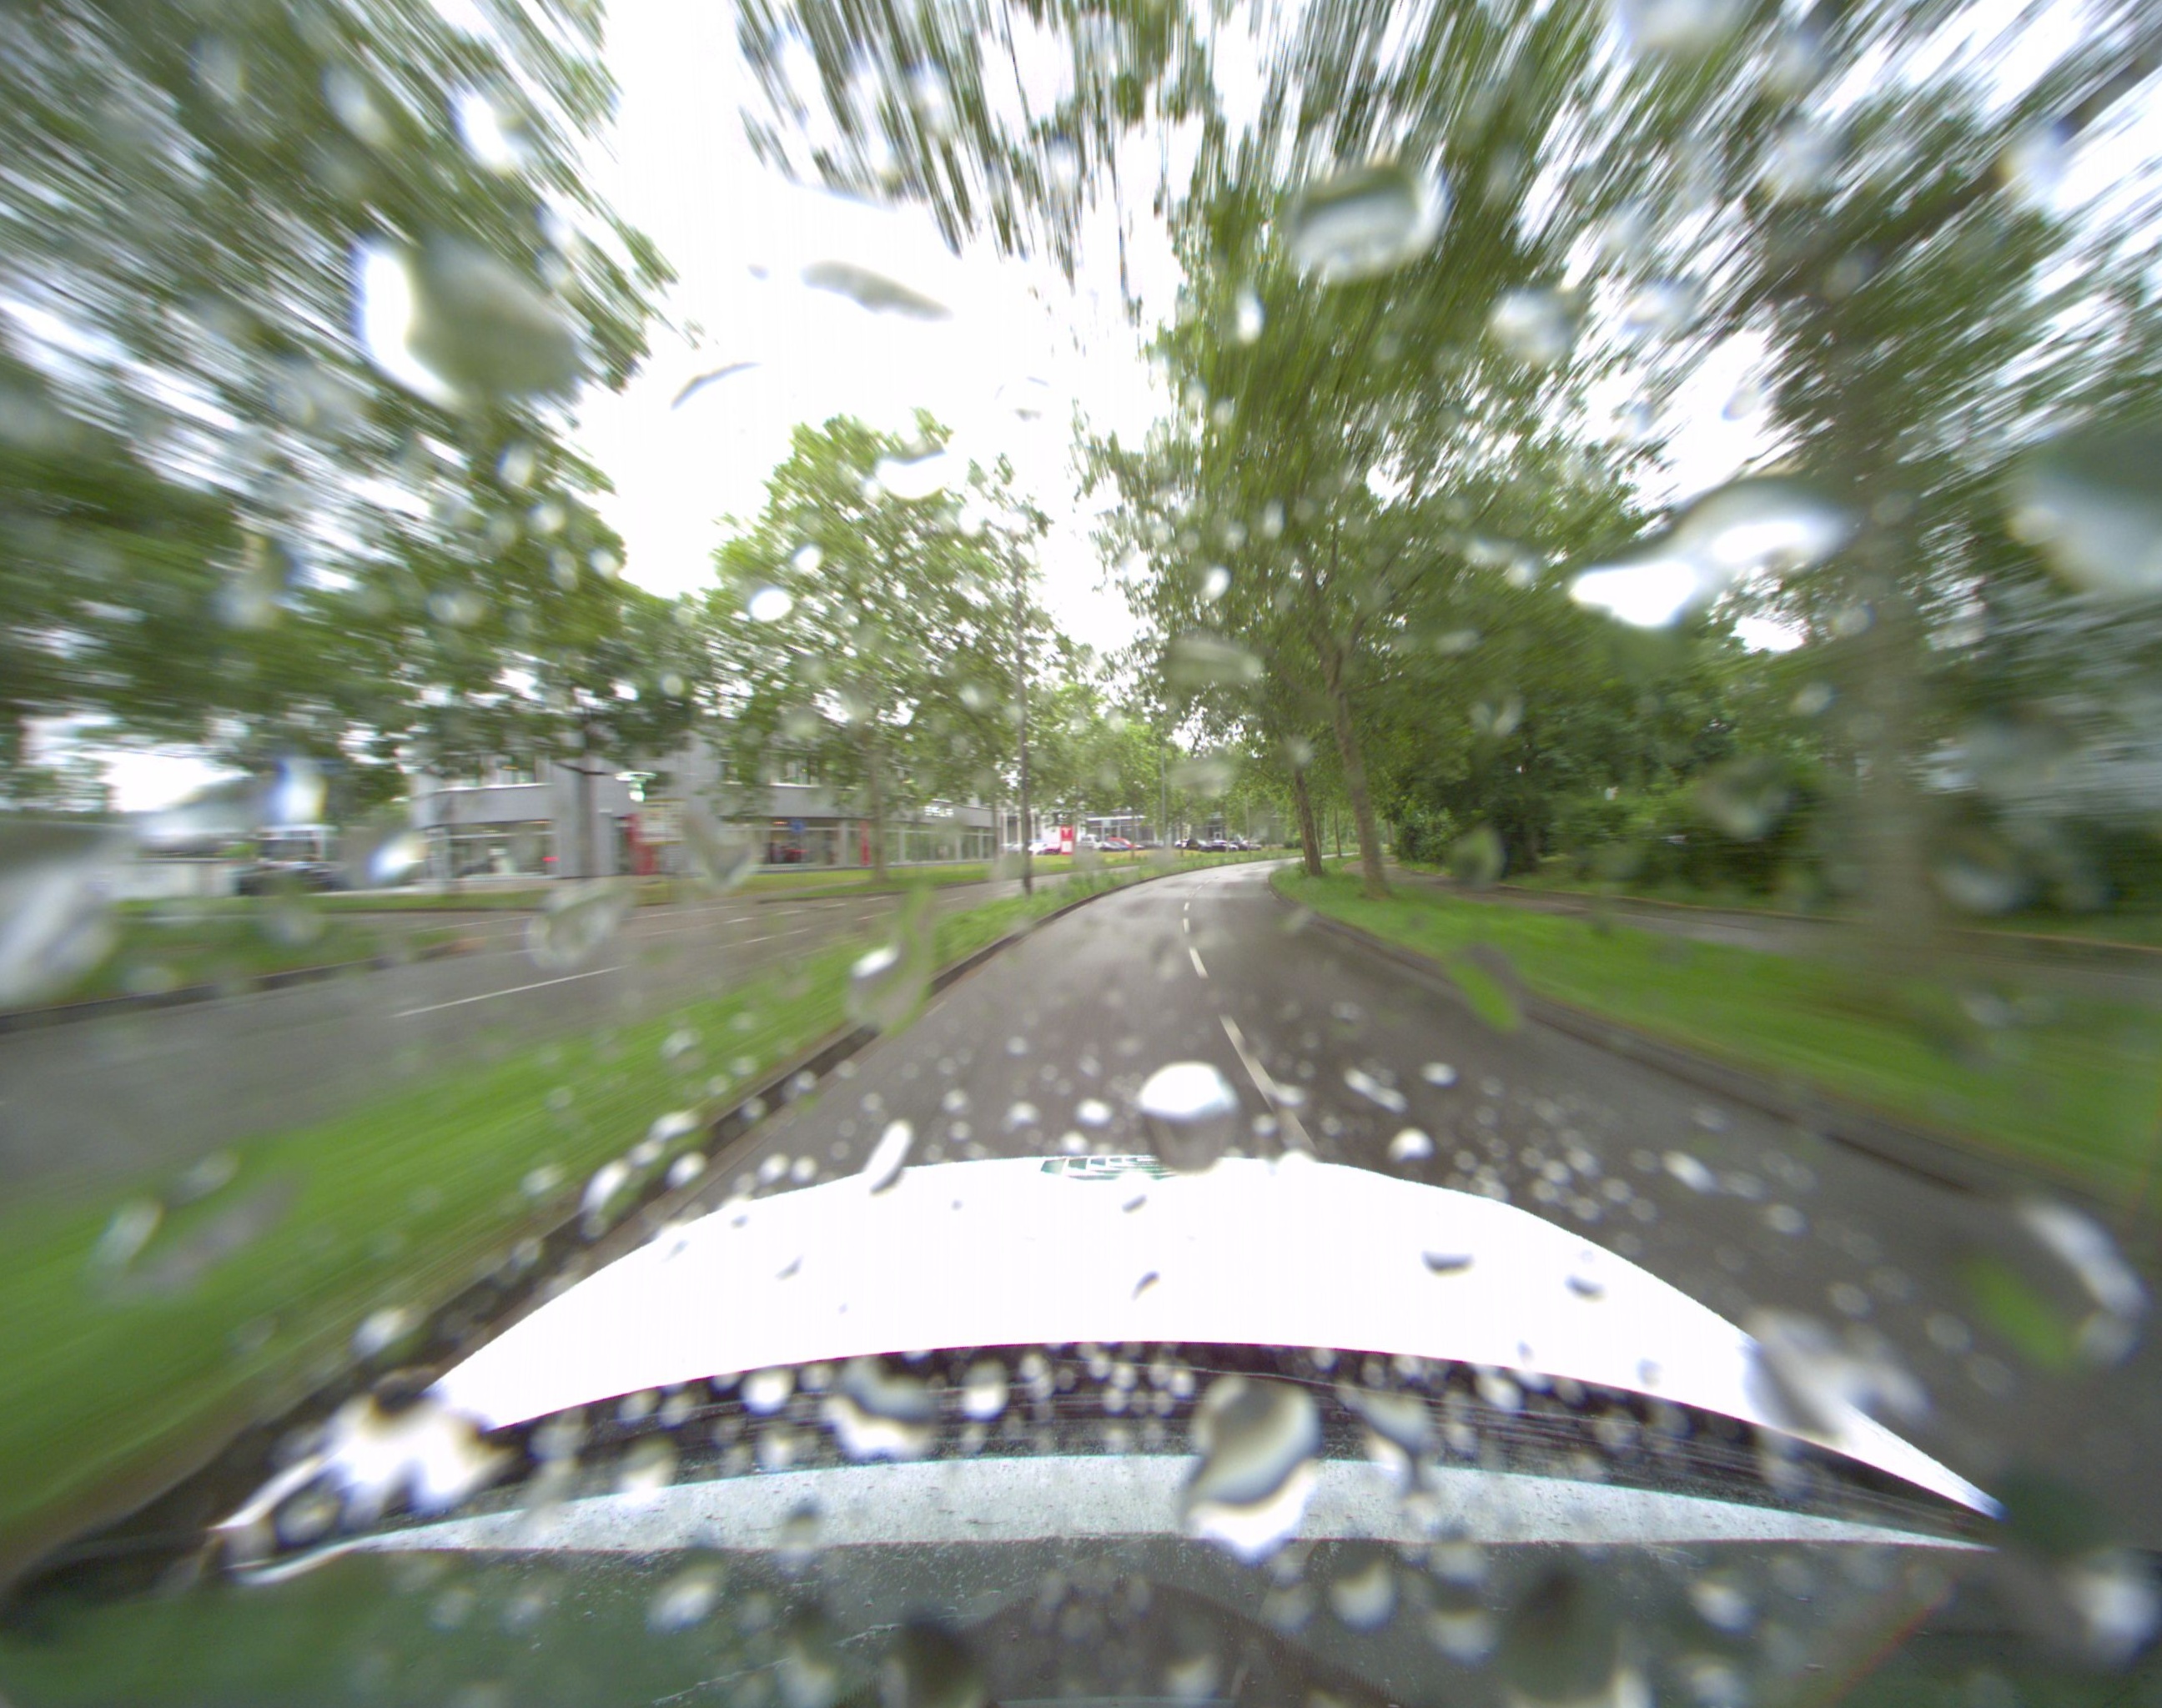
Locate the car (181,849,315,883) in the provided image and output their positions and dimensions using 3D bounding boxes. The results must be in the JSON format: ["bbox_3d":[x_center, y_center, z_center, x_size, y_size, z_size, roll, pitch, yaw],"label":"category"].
[{"bbox_3d":[-38.461,0.533,37.681,4.190,1.494,1.593,0,0,-9],"label":"car"}]

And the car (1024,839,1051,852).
[{"bbox_3d":[-5.222,-1.066,99.032,1.748,1.396,4.179,1,2,21],"label":"car"}]

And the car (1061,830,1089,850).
[{"bbox_3d":[-0.863,-2.031,114.809,2.172,2.752,5.302,0,1,-21],"label":"car"}]

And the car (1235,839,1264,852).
[{"bbox_3d":[26.791,-1.361,129.429,3.996,1.474,1.776,4,5,-17],"label":"car"}]

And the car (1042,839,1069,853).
[{"bbox_3d":[-3.041,-0.962,97.230,1.748,1.466,4.179,1,2,21],"label":"car"}]

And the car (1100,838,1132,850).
[{"bbox_3d":[4.409,-1.286,102.117,3.490,1.326,1.779,3,3,27],"label":"car"}]

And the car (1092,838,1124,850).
[{"bbox_3d":[3.355,-1.274,100.063,3.490,1.326,1.779,3,3,27],"label":"car"}]

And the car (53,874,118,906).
[{"bbox_3d":[-50.216,1.799,41.084,4.150,1.494,1.608,-1,0,33],"label":"car"}]

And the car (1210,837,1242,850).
[{"bbox_3d":[21.835,-1.571,122.678,4.119,1.478,1.841,5,5,-12],"label":"car"}]

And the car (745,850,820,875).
[{"bbox_3d":[-17.870,0.509,48.748,4.156,1.494,1.606,-1,0,20],"label":"car"}]

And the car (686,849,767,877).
[{"bbox_3d":[-19.898,0.493,45.717,4.156,1.494,1.606,-1,0,20],"label":"car"}]

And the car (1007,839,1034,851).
[{"bbox_3d":[-7.403,-1.086,99.873,1.748,1.396,4.179,1,2,21],"label":"car"}]

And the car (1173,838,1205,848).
[{"bbox_3d":[16.192,-1.614,122.596,4.381,1.473,1.931,0,1,25],"label":"car"}]

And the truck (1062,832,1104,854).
[{"bbox_3d":[0.324,-1.356,96.390,2.226,2.344,6.233,3,3,28],"label":"truck"}]

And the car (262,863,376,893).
[{"bbox_3d":[-40.282,1.238,43.138,4.190,1.494,1.593,0,0,-9],"label":"car"}]

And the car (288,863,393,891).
[{"bbox_3d":[-41.721,1.289,45.973,4.190,1.494,1.593,0,0,-9],"label":"car"}]

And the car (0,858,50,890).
[{"bbox_3d":[-50.504,0.934,38.704,3.033,1.494,1.608,-1,0,33],"label":"car"}]

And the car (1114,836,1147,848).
[{"bbox_3d":[6.529,-1.630,107.287,3.959,1.357,1.859,3,3,27],"label":"car"}]

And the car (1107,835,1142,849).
[{"bbox_3d":[5.561,-1.590,104.599,3.959,1.556,1.859,3,3,27],"label":"car"}]

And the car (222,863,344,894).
[{"bbox_3d":[-39.770,1.200,40.676,4.190,1.494,1.593,0,0,-9],"label":"car"}]
